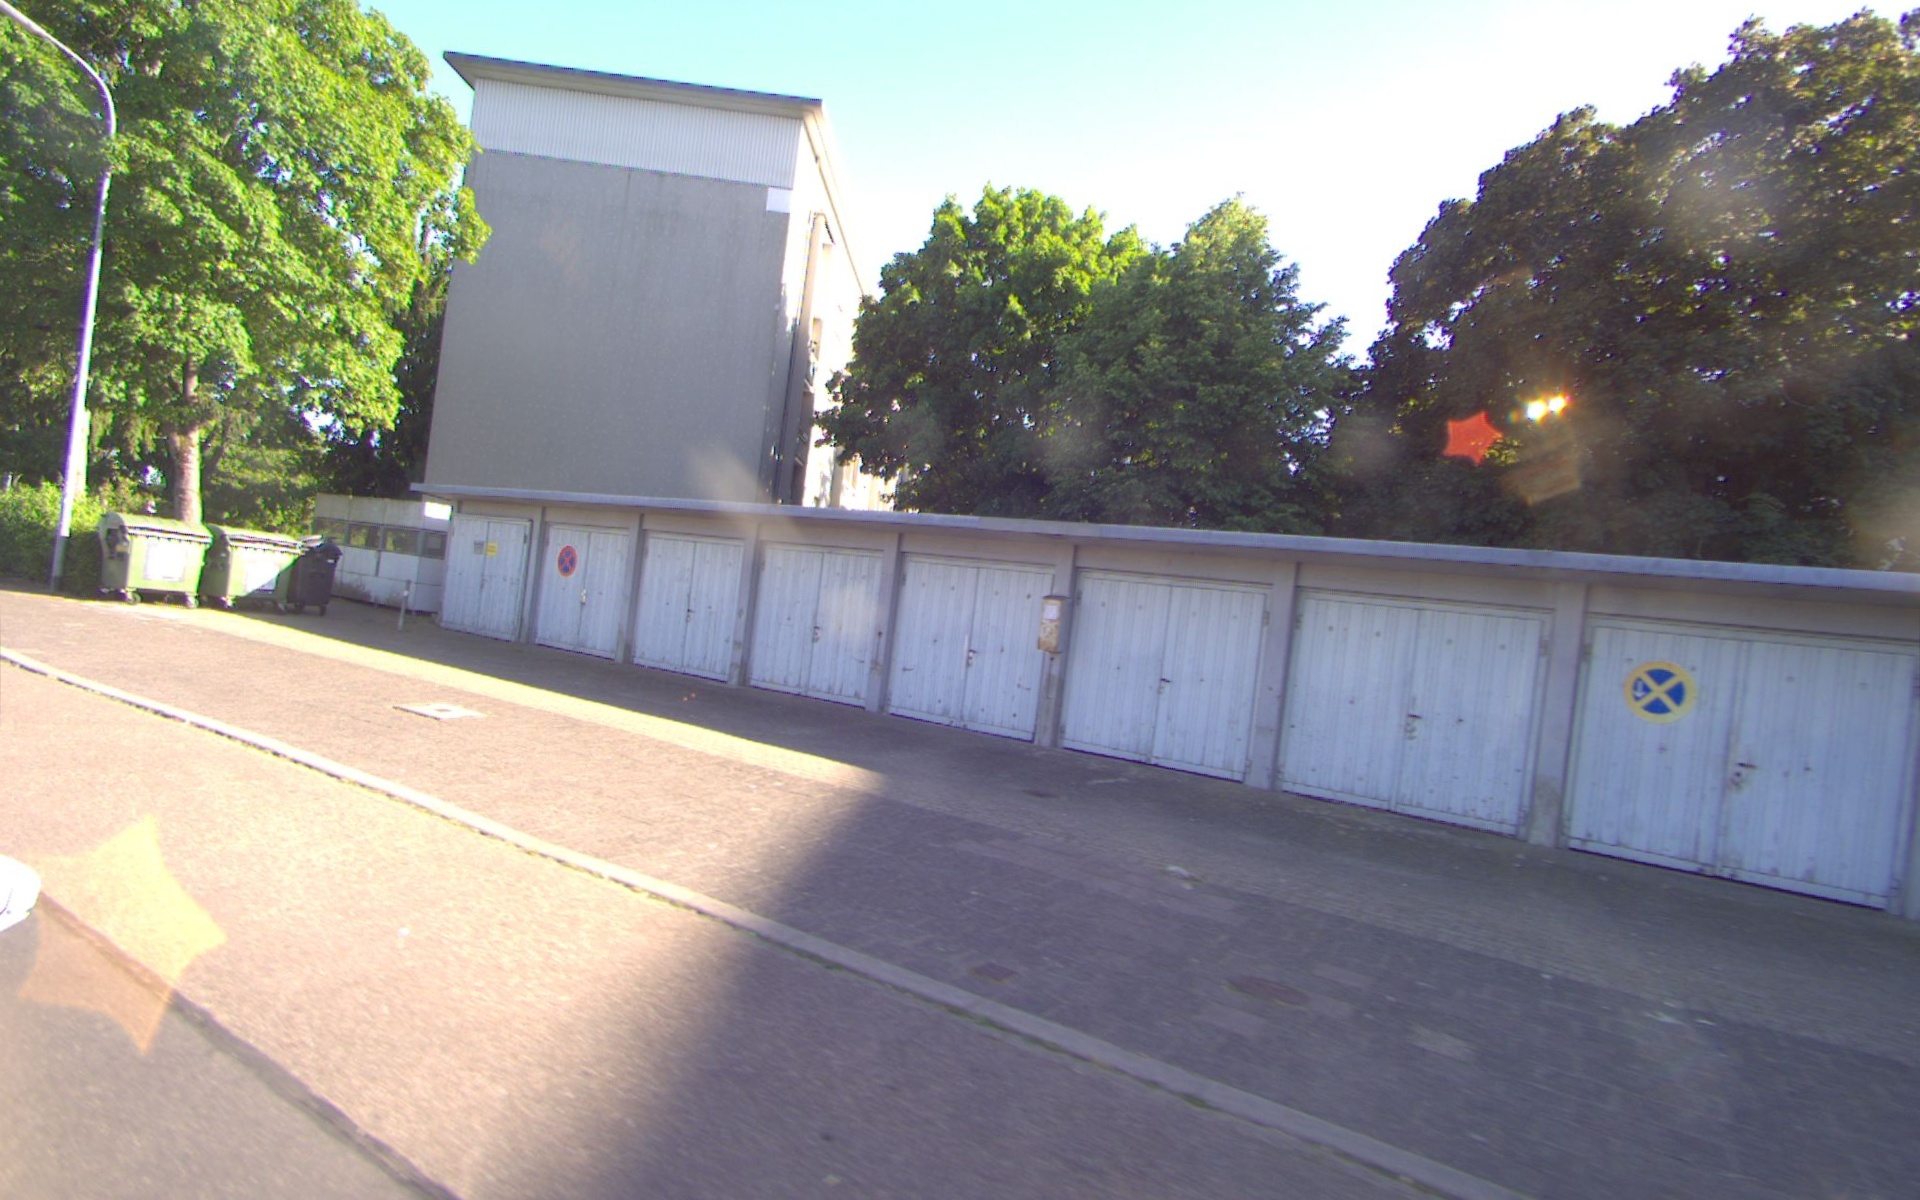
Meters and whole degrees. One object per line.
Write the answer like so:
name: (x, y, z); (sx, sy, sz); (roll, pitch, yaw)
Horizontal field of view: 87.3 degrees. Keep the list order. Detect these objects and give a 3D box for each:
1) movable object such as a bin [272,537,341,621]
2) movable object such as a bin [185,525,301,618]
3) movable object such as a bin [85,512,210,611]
movable object such as a bin: (-12.148, -0.384, 18.705); (0.677, 1.432, 0.725); (6, -1, 29)
movable object such as a bin: (-12.698, -0.490, 17.845); (0.935, 1.432, 1.277); (6, -1, 29)
movable object such as a bin: (-13.369, -0.617, 16.574); (0.899, 1.420, 1.240); (6, -1, 29)
